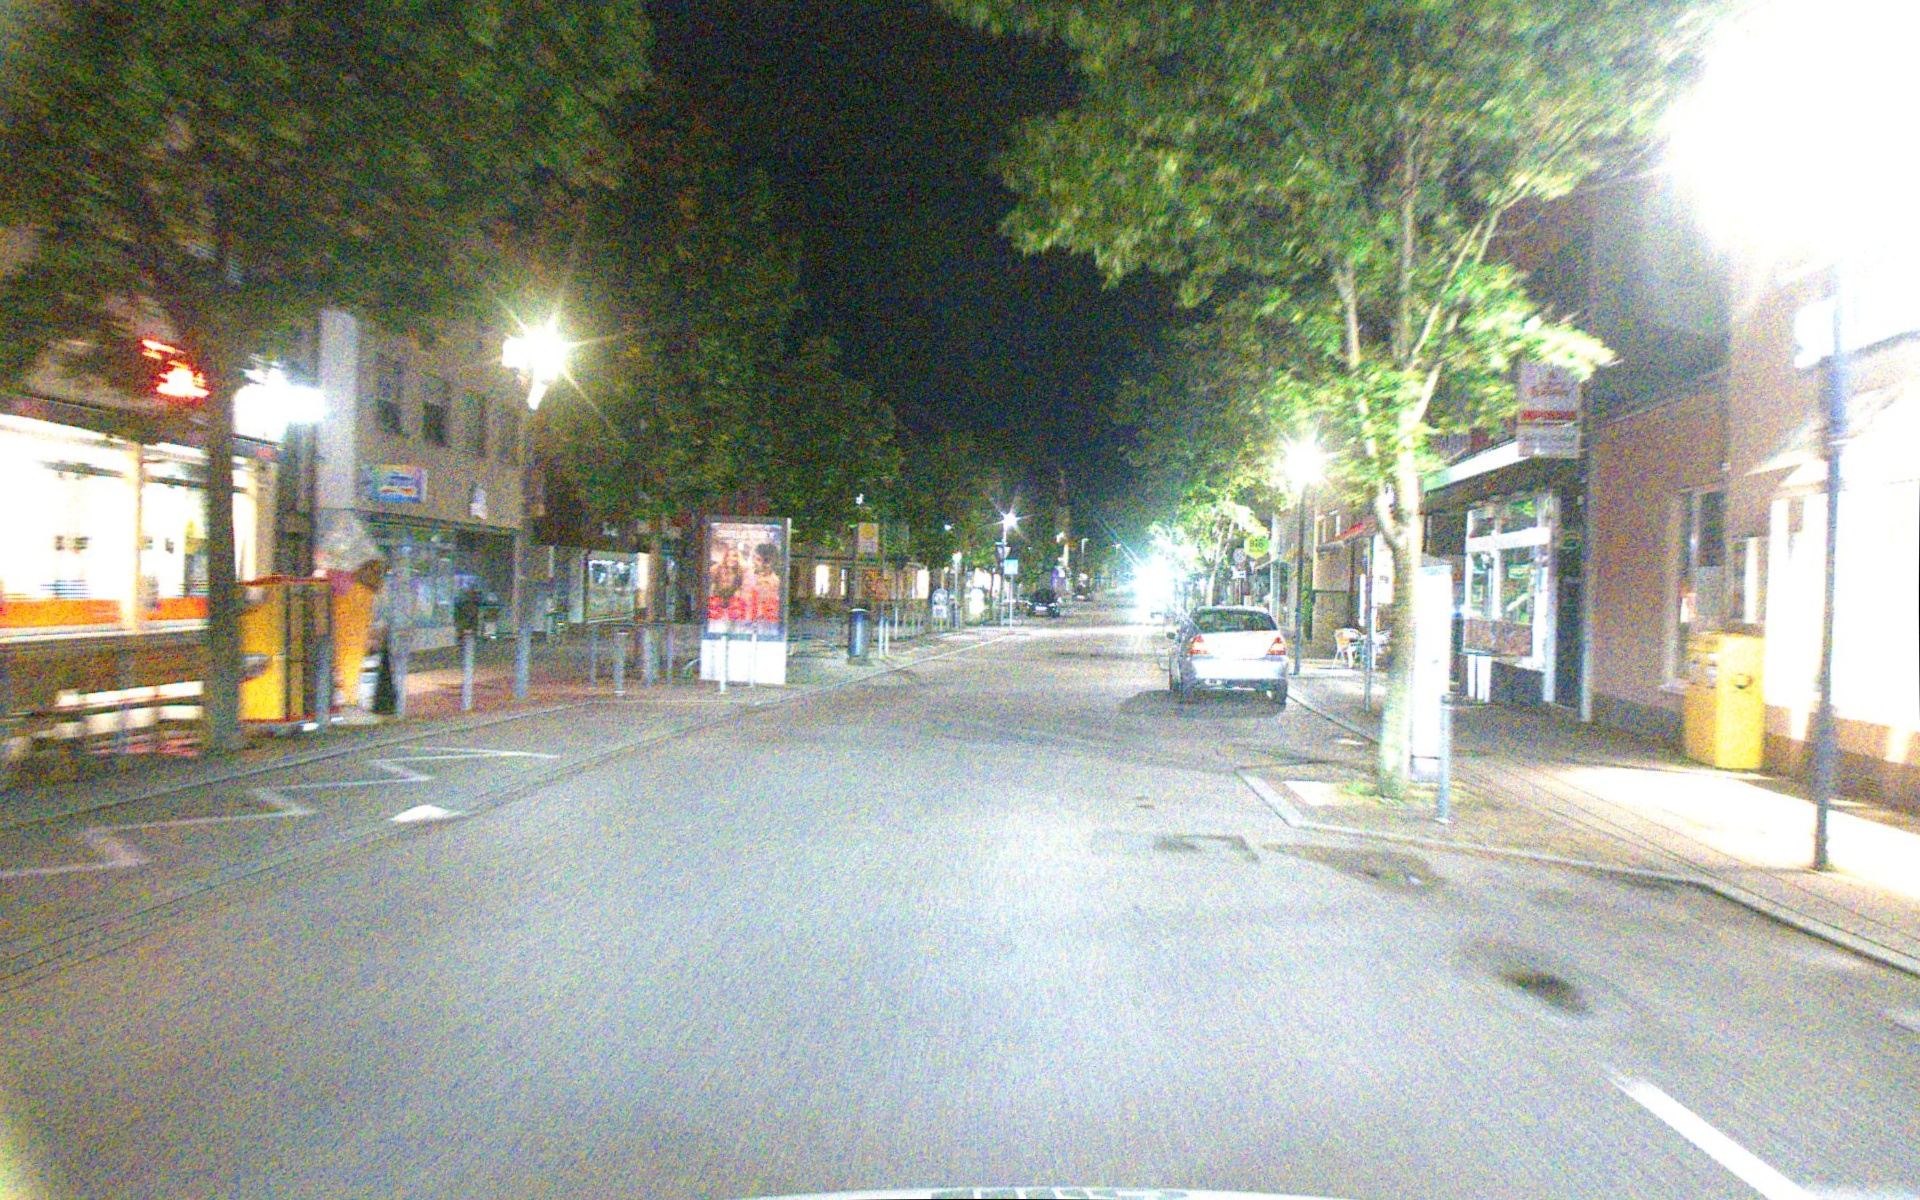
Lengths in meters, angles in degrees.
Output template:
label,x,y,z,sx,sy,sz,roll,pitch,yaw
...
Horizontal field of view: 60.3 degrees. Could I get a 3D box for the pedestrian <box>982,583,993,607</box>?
label,x,y,z,sx,sy,sz,roll,pitch,yaw
pedestrian,2.044,-0.373,122.470,0.753,1.684,0.818,1,2,8

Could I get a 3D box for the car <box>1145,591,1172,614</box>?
label,x,y,z,sx,sy,sz,roll,pitch,yaw
car,13.085,0.132,109.365,1.639,1.485,3.678,1,1,5

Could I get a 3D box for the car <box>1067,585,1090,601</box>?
label,x,y,z,sx,sy,sz,roll,pitch,yaw
car,11.385,-0.709,158.423,1.873,1.394,4.461,0,1,9

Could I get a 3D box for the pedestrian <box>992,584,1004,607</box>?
label,x,y,z,sx,sy,sz,roll,pitch,yaw
pedestrian,2.803,-0.359,122.375,0.753,1.684,0.782,1,2,8

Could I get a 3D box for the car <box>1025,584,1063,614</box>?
label,x,y,z,sx,sy,sz,roll,pitch,yaw
car,5.347,-0.079,104.578,1.975,1.720,5.007,2,1,7

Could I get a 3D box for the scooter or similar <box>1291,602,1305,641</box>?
label,x,y,z,sx,sy,sz,roll,pitch,yaw
scooter or similar,11.331,0.730,55.401,0.365,1.299,1.306,0,-1,8

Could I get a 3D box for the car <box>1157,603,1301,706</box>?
label,x,y,z,sx,sy,sz,roll,pitch,yaw
car,4.254,0.809,26.747,1.698,1.466,4.497,1,1,2
